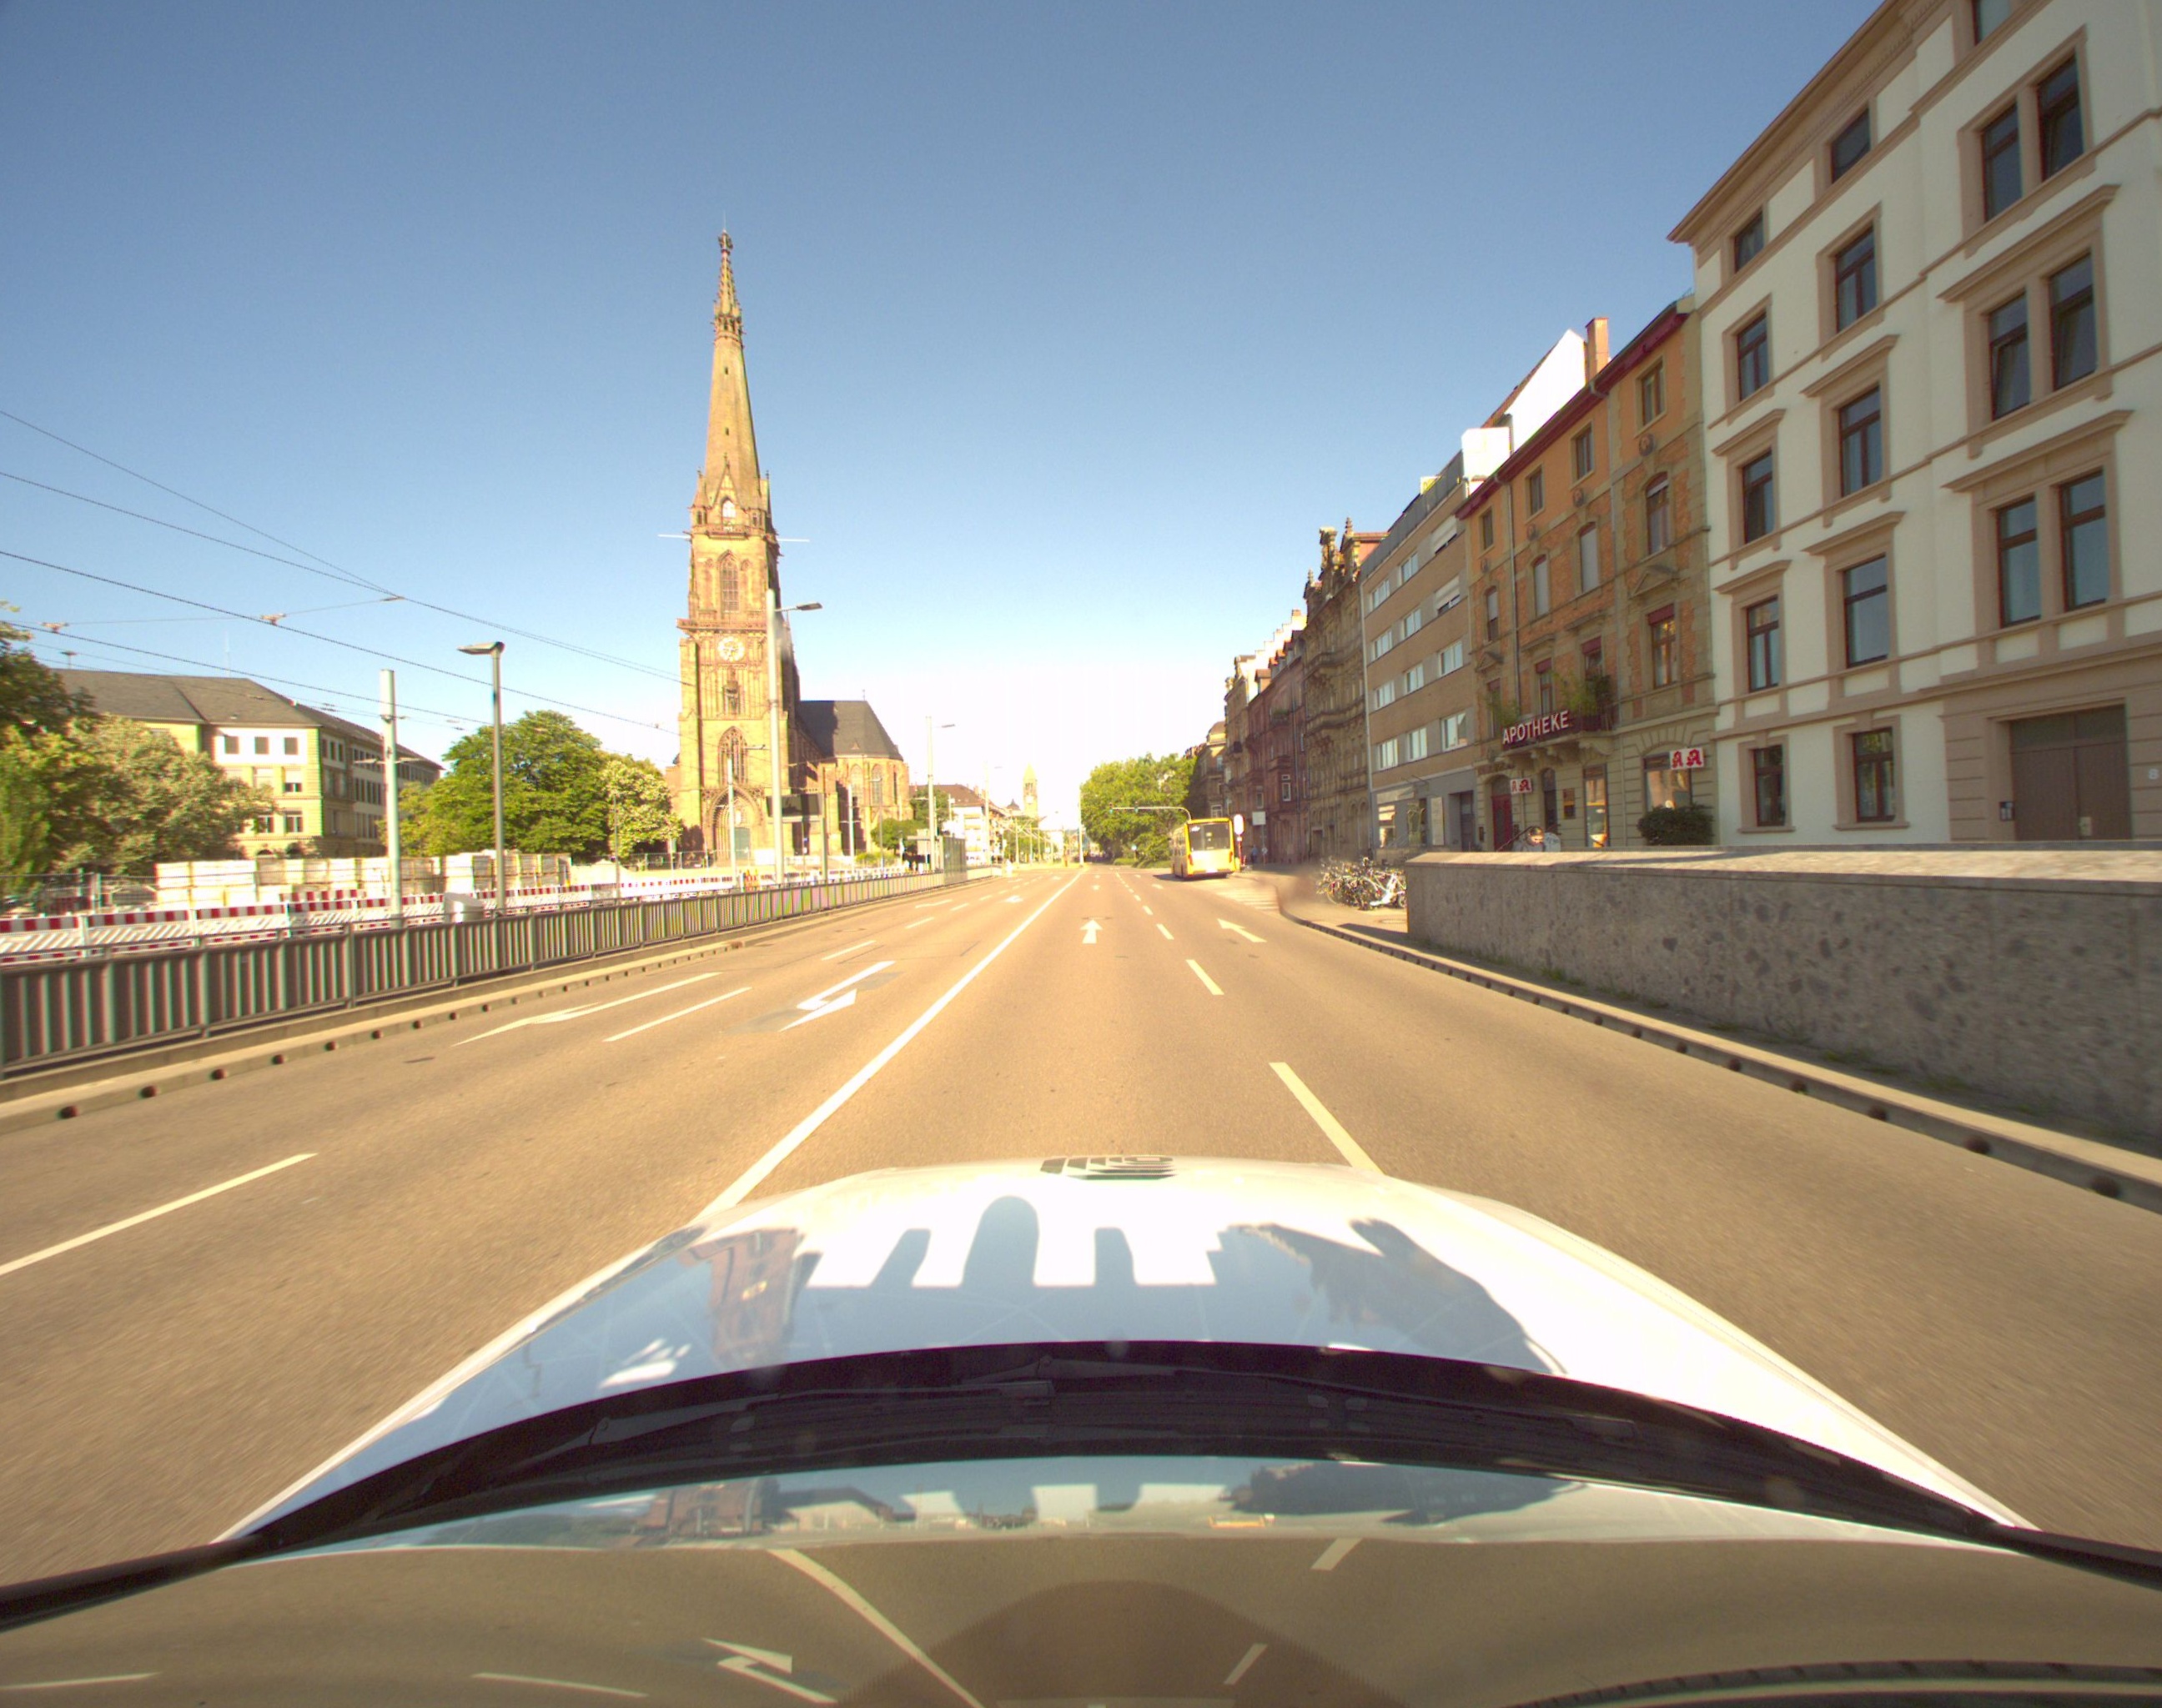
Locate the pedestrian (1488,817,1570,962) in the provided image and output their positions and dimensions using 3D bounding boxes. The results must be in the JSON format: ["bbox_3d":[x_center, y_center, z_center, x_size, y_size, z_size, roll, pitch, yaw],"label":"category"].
[{"bbox_3d":[6.527,0.492,11.894,0.748,2.013,0.698,-3,2,1],"label":"pedestrian"}]

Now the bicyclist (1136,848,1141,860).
[{"bbox_3d":[8.875,-0.043,125.663,0.639,1.815,1.052,-3,-1,0],"label":"bicyclist"}]

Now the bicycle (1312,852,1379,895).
[{"bbox_3d":[7.691,0.562,23.697,1.759,1.187,0.470,-2,1,0],"label":"bicycle"}]

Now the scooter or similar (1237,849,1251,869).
[{"bbox_3d":[10.578,0.315,52.787,0.431,1.249,1.291,-4,-1,-8],"label":"scooter or similar"}]

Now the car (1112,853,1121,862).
[{"bbox_3d":[6.814,0.677,155.224,1.637,1.511,4.184,-3,0,2],"label":"car"}]

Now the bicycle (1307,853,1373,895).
[{"bbox_3d":[7.685,0.582,24.188,1.785,1.187,0.470,-2,1,0],"label":"bicycle"}]

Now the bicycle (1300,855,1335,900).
[{"bbox_3d":[6.564,0.633,22.626,0.467,1.147,1.771,-2,1,1],"label":"bicycle"}]

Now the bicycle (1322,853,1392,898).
[{"bbox_3d":[7.685,0.598,22.688,1.759,1.187,0.470,-2,1,0],"label":"bicycle"}]

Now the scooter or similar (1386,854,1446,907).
[{"bbox_3d":[7.967,0.625,19.386,1.211,1.216,0.637,-1,-1,-26],"label":"scooter or similar"}]

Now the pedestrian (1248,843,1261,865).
[{"bbox_3d":[15.602,0.008,73.148,0.819,1.930,1.137,-3,0,1],"label":"pedestrian"}]

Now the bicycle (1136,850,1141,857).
[{"bbox_3d":[8.862,-0.112,125.686,0.639,1.048,2.360,-3,-1,1],"label":"bicycle"}]

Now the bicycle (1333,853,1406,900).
[{"bbox_3d":[7.655,0.597,21.661,1.759,1.187,0.470,-2,1,0],"label":"bicycle"}]

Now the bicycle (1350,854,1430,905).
[{"bbox_3d":[7.638,0.629,20.160,1.759,1.178,0.470,-2,1,0],"label":"bicycle"}]

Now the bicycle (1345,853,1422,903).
[{"bbox_3d":[7.653,0.606,20.662,1.759,1.178,0.470,-2,1,0],"label":"bicycle"}]

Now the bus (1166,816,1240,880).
[{"bbox_3d":[7.104,-0.338,49.163,2.705,3.181,12.544,-3,0,1],"label":"bus"}]

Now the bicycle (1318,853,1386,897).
[{"bbox_3d":[7.697,0.587,23.190,1.759,1.187,0.470,-2,1,0],"label":"bicycle"}]

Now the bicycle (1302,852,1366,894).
[{"bbox_3d":[7.660,0.564,24.691,1.759,1.187,0.470,-2,1,0],"label":"bicycle"}]

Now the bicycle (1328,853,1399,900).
[{"bbox_3d":[7.678,0.605,22.168,1.759,1.187,0.470,-2,1,0],"label":"bicycle"}]

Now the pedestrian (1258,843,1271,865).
[{"bbox_3d":[16.499,0.034,73.133,0.819,1.930,1.137,-3,0,1],"label":"pedestrian"}]

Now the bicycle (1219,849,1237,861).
[{"bbox_3d":[16.397,0.083,91.054,1.884,1.239,0.488,-4,-2,-12],"label":"bicycle"}]

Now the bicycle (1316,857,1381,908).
[{"bbox_3d":[6.505,0.668,19.915,0.470,1.147,1.758,-2,1,-22],"label":"bicycle"}]

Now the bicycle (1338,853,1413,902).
[{"bbox_3d":[7.653,0.603,21.160,1.759,1.187,0.470,-2,1,0],"label":"bicycle"}]

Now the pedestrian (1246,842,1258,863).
[{"bbox_3d":[15.860,-0.126,75.678,0.819,1.930,1.137,-3,0,1],"label":"pedestrian"}]

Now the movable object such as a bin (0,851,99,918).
[{"bbox_3d":[-27.638,0.828,20.406,1.169,1.586,3.866,-3,3,1],"label":"movable object such as a bin"}]
